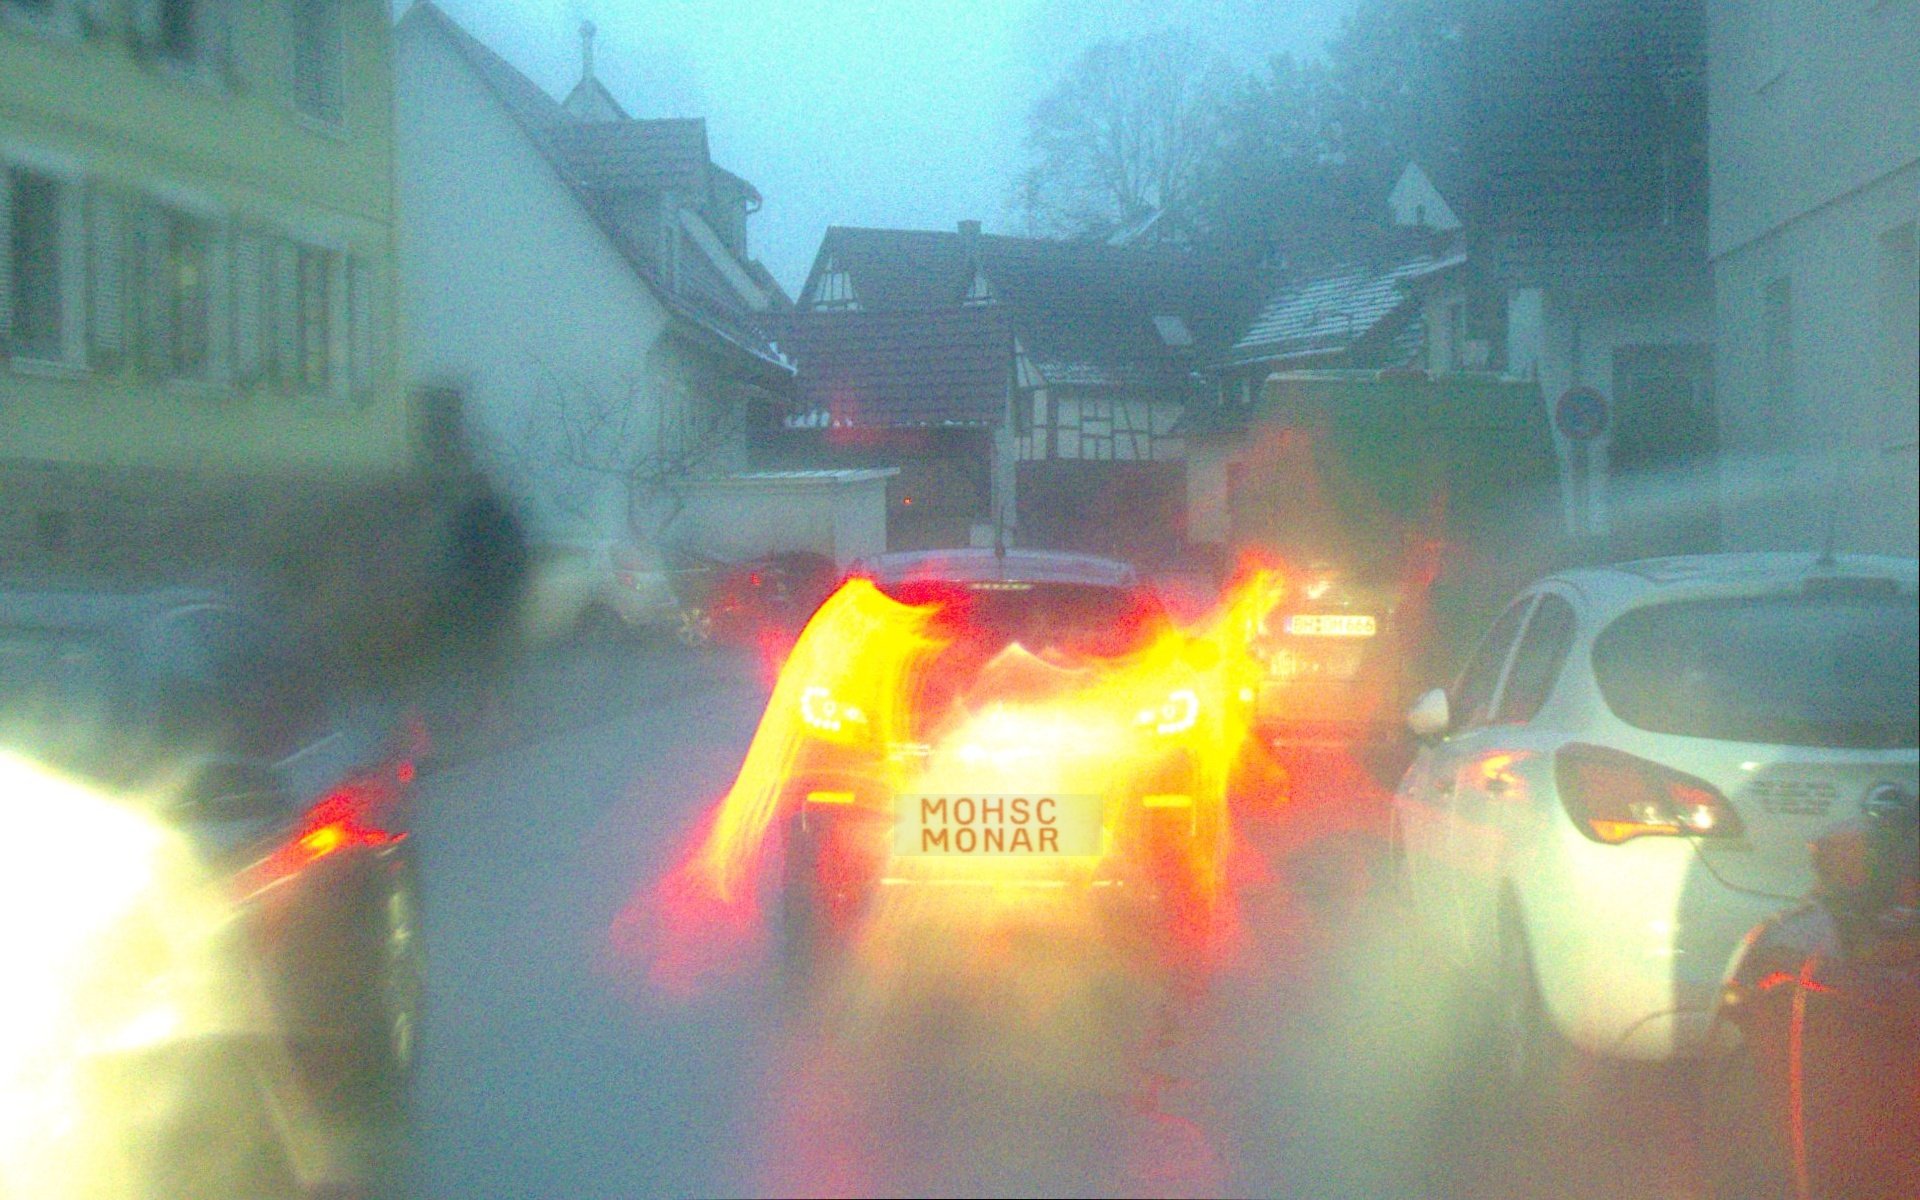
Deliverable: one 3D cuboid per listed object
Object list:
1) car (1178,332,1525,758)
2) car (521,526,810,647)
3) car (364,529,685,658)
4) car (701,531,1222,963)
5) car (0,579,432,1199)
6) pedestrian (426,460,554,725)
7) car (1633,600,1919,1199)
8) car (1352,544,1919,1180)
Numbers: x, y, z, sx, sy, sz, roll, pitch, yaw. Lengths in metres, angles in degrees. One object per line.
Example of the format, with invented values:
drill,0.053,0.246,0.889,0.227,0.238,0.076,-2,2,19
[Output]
car,2.328,-0.345,21.307,1.814,2.405,3.751,0,1,2
car,-3.724,-0.183,43.894,3.507,1.502,1.692,0,1,1
car,-5.194,-0.096,41.235,3.508,1.502,1.692,0,1,7
car,0.042,0.479,14.017,1.795,1.471,4.000,1,1,1
car,-2.451,0.684,7.519,1.868,1.397,4.366,0,1,1
pedestrian,-3.608,-0.063,26.458,0.873,2.007,0.795,0,1,0
car,2.120,0.732,4.608,1.679,1.390,3.752,0,1,0
car,2.176,0.596,10.079,1.725,1.502,3.751,0,1,2
